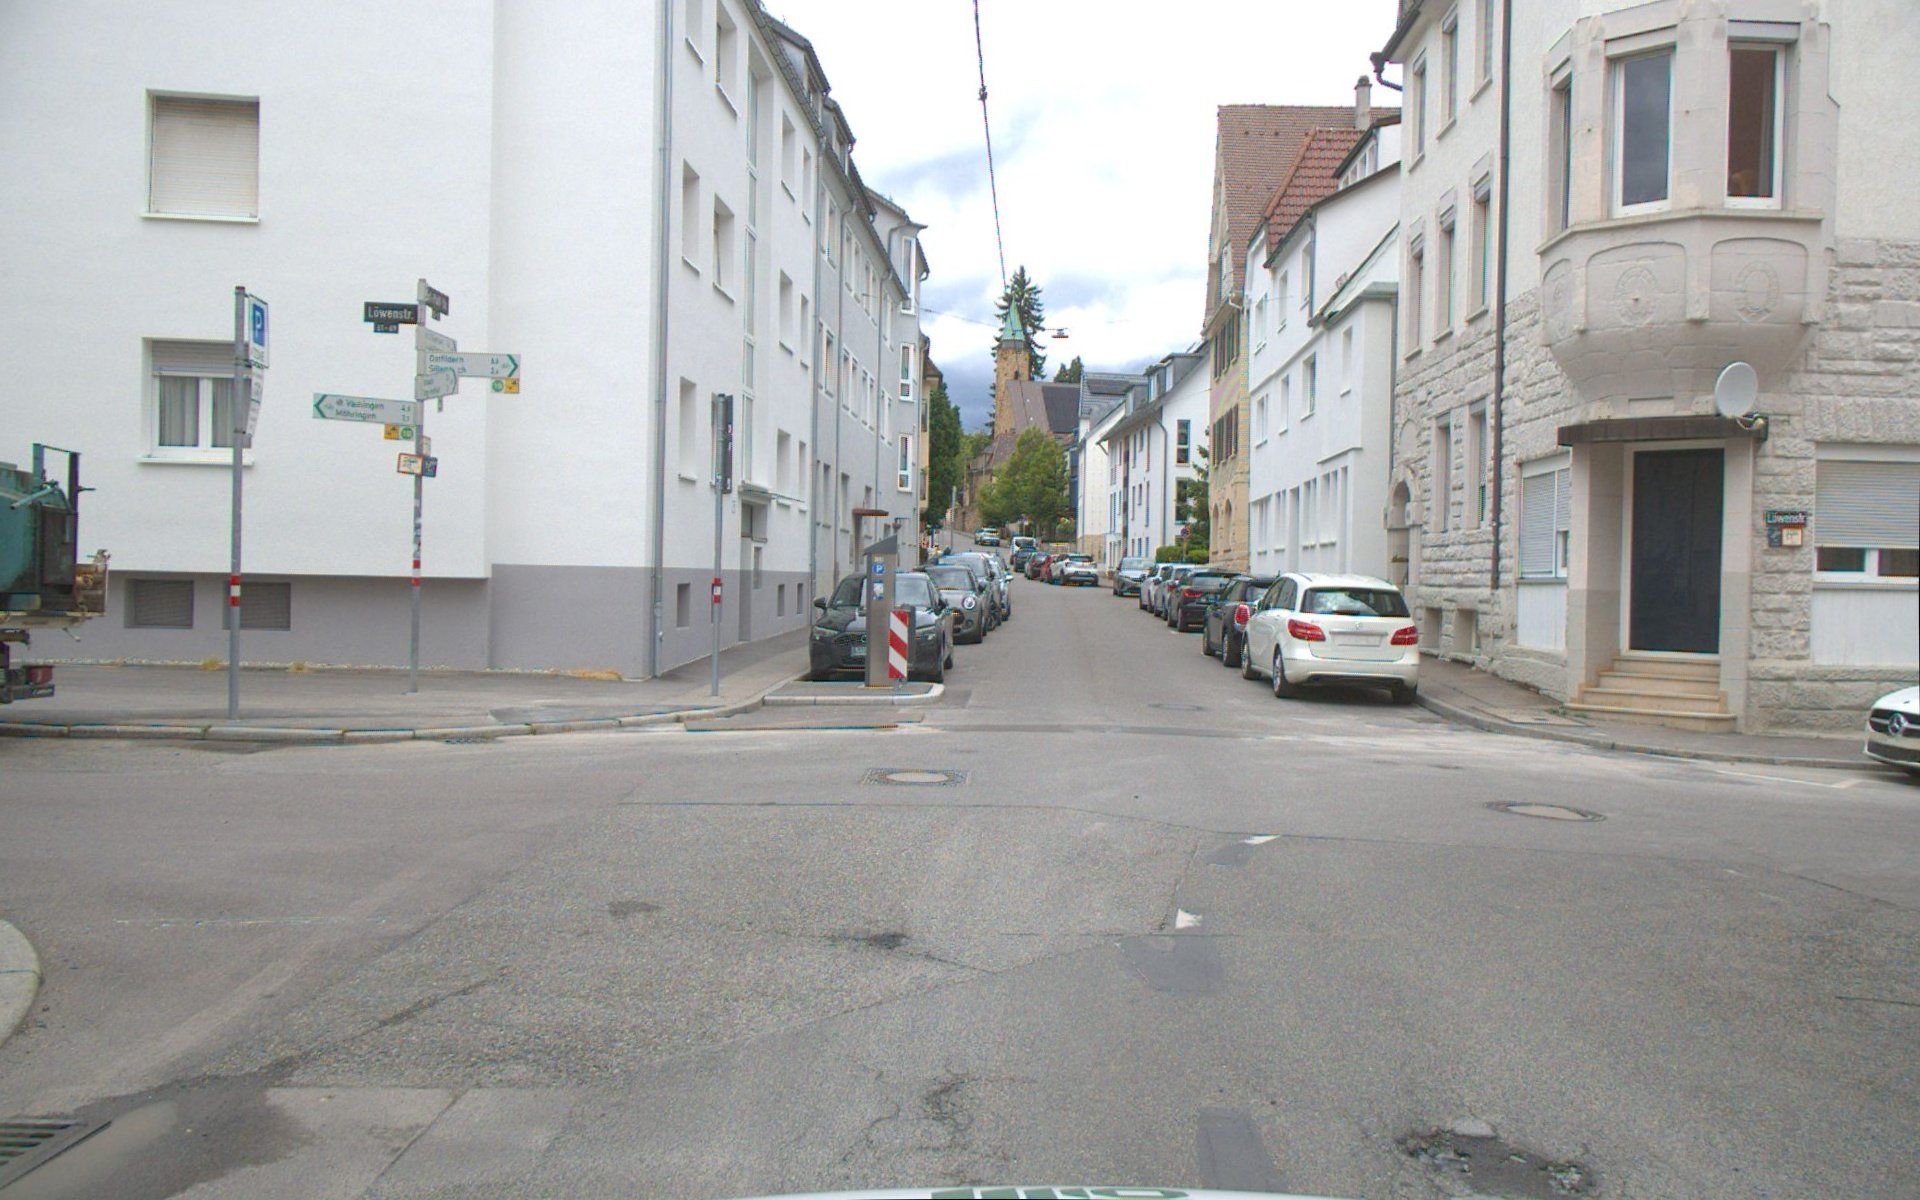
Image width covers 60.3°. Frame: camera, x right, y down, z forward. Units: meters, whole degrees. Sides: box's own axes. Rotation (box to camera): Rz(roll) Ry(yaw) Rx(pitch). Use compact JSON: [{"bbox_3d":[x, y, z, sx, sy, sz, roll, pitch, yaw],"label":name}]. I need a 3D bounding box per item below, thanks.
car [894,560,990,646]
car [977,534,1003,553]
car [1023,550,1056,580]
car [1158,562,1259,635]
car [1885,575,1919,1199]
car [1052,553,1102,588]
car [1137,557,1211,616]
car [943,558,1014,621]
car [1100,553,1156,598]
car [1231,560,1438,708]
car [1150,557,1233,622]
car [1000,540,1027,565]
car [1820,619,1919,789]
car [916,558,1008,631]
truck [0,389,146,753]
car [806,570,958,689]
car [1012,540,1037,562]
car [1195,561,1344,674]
[{"bbox_3d":[-0.289,0.003,31.620,1.694,1.515,3.720,0,2,1],"label":"car"},{"bbox_3d":[2.854,-5.427,158.681,2.139,1.722,3.623,1,2,-5],"label":"car"},{"bbox_3d":[4.352,-1.943,91.162,1.633,1.505,3.627,2,2,0],"label":"car"},{"bbox_3d":[5.577,-0.071,37.493,1.633,1.409,4.028,3,2,0],"label":"car"},{"bbox_3d":[3.229,0.780,2.130,1.780,1.570,4.027,3,0,0],"label":"car"},{"bbox_3d":[5.644,-1.443,79.962,1.750,1.505,3.622,1,2,-7],"label":"car"},{"bbox_3d":[6.199,-0.431,48.195,1.633,1.504,3.627,3,2,0],"label":"car"},{"bbox_3d":[0.494,-0.301,41.622,1.694,1.473,3.720,0,2,1],"label":"car"},{"bbox_3d":[6.206,-0.930,61.360,1.633,1.504,3.627,3,2,0],"label":"car"},{"bbox_3d":[4.851,0.360,21.967,1.783,1.626,4.028,3,2,0],"label":"car"},{"bbox_3d":[6.060,-0.305,43.552,1.633,1.504,3.627,3,2,0],"label":"car"},{"bbox_3d":[3.487,-3.123,107.958,1.633,1.505,3.627,2,2,0],"label":"car"},{"bbox_3d":[10.434,1.024,15.251,4.144,1.438,1.703,3,1,-5],"label":"car"},{"bbox_3d":[0.087,-0.164,36.624,1.693,1.495,3.722,0,2,5],"label":"car"},{"bbox_3d":[-9.962,-0.251,12.719,6.144,2.596,2.316,1,-1,-5],"label":"truck"},{"bbox_3d":[-0.973,0.326,22.641,1.782,1.415,4.299,0,2,1],"label":"car"},{"bbox_3d":[4.674,-3.546,119.706,1.633,1.505,3.627,2,2,0],"label":"car"},{"bbox_3d":[4.958,0.215,27.022,1.633,1.559,4.028,3,2,0],"label":"car"}]
